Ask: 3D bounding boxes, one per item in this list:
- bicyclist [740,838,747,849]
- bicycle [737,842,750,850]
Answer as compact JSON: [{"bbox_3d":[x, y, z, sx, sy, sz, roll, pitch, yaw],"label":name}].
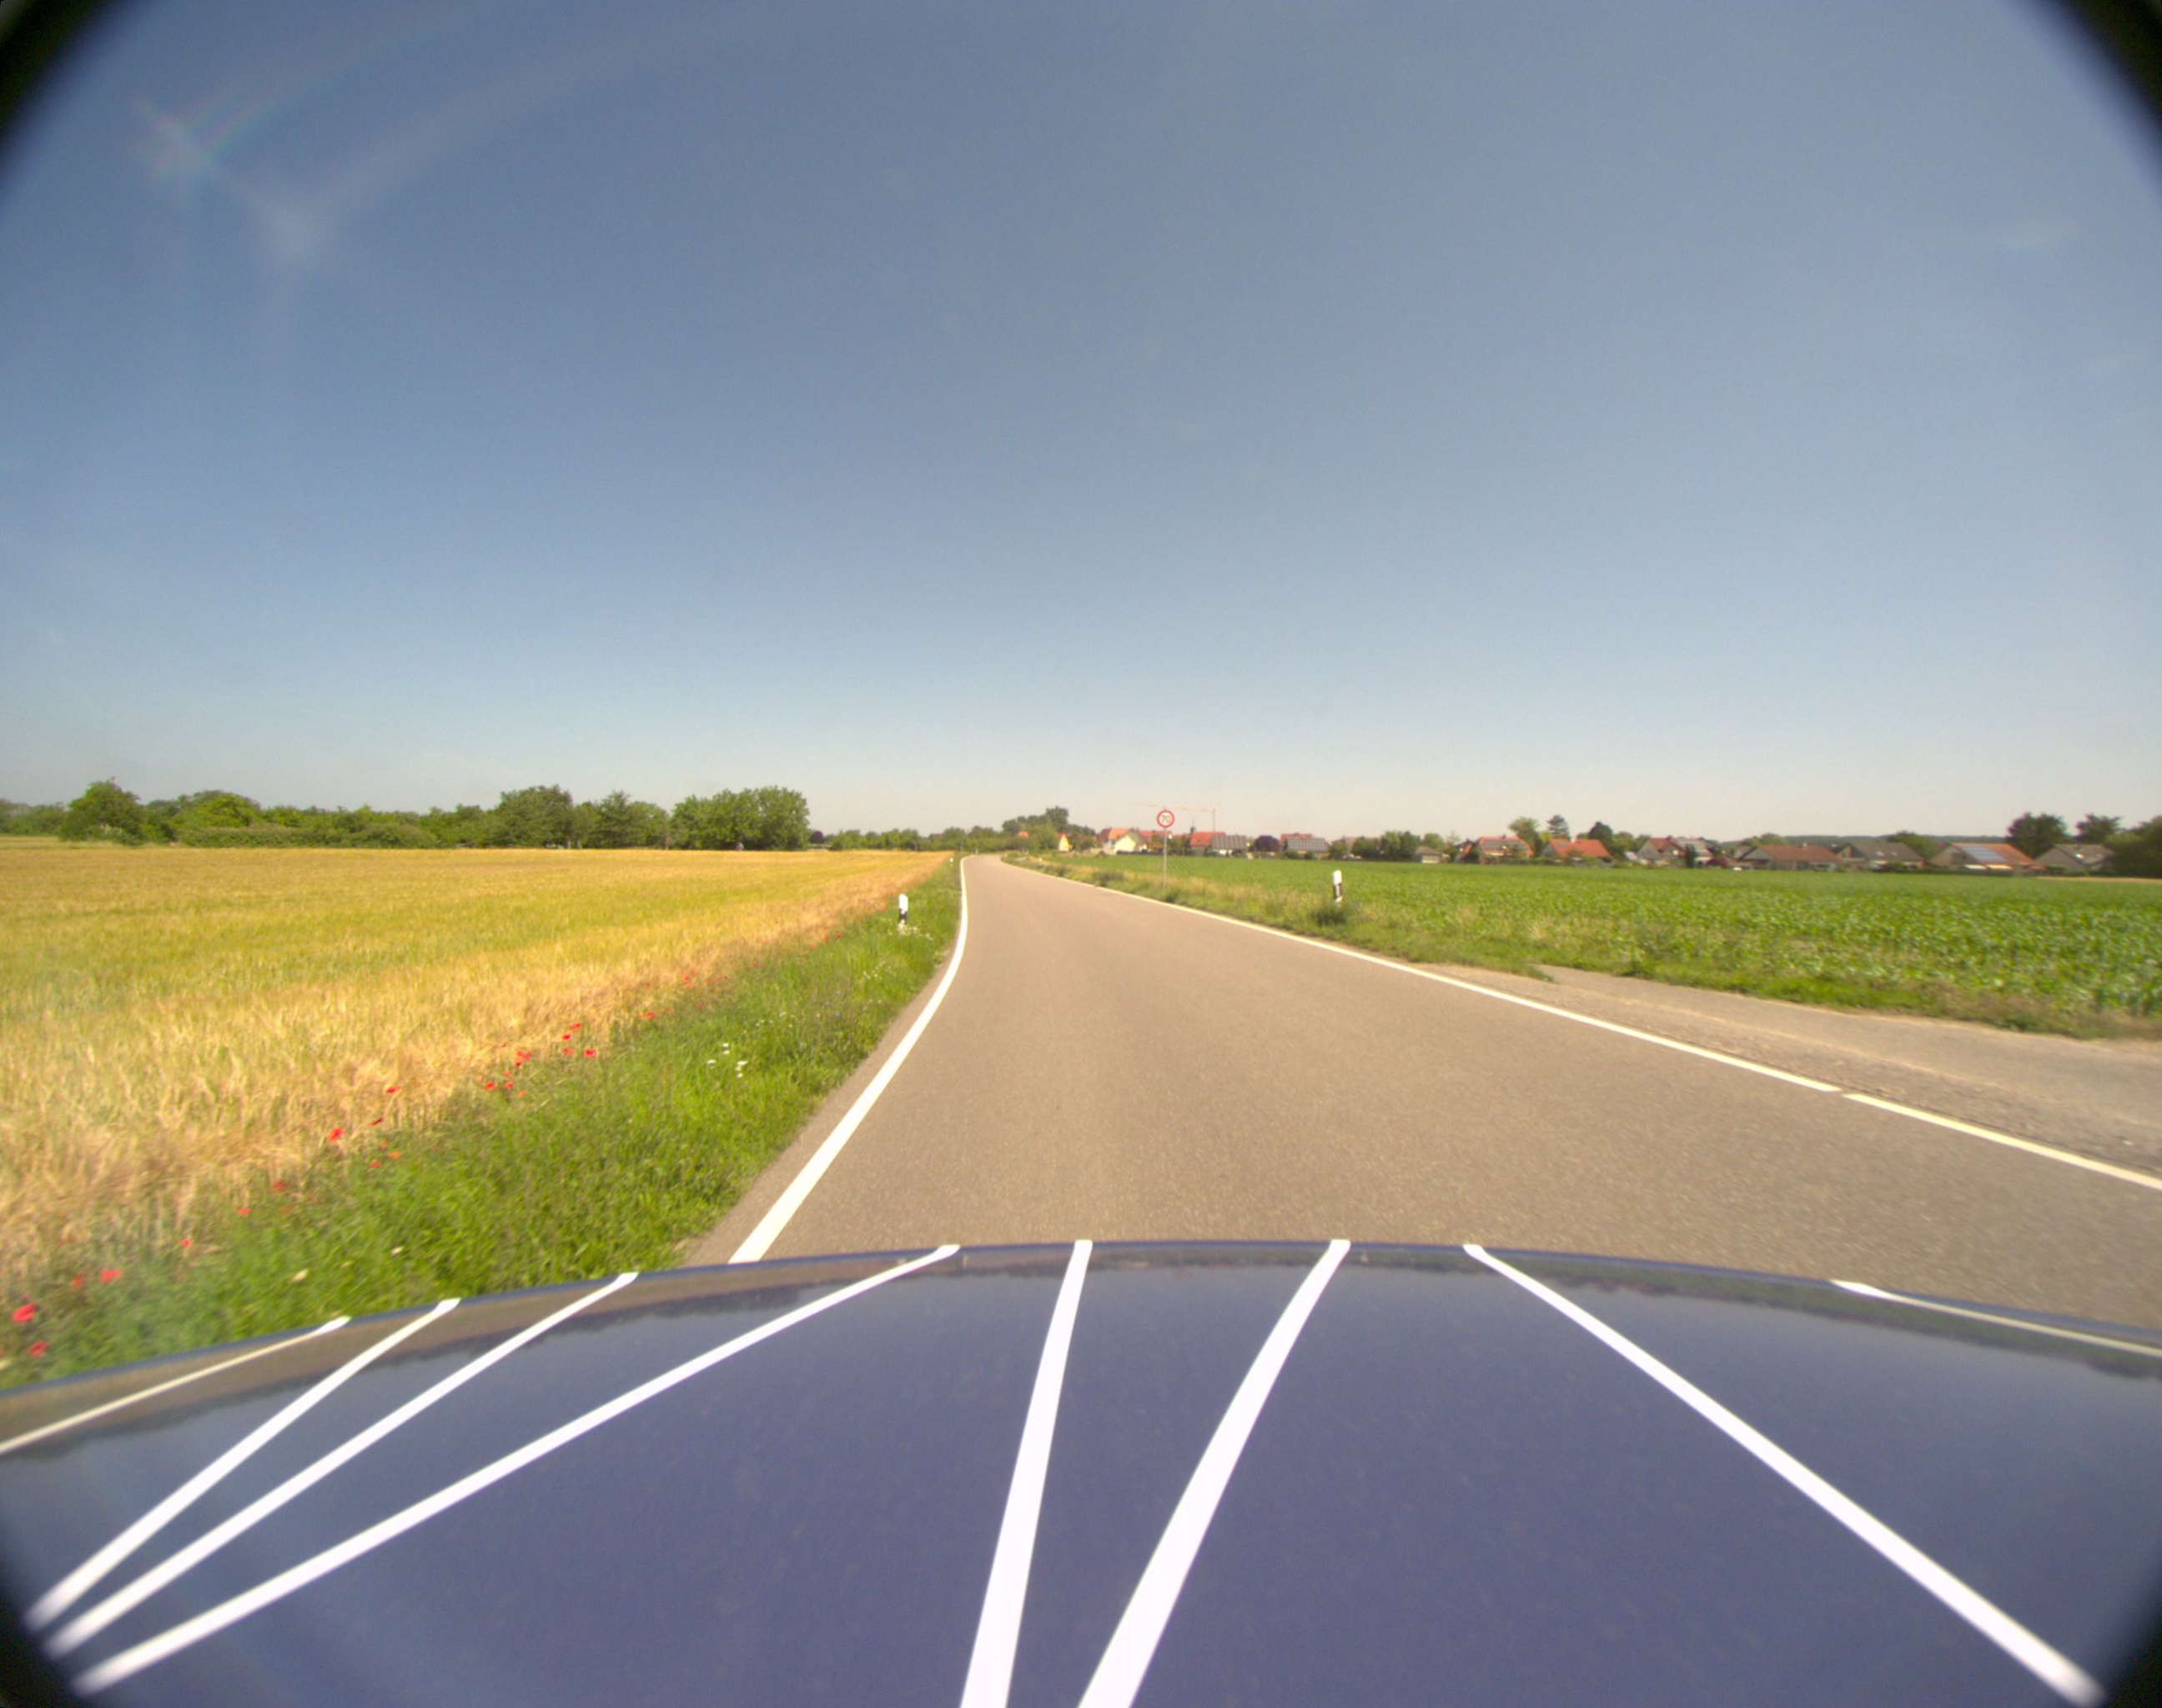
[{"bbox_3d":[-49.302,-1.566,110.970,0.737,1.565,0.672,0,2,-43],"label":"bicyclist"},{"bbox_3d":[-49.303,-1.192,110.986,1.773,1.109,0.520,0,2,-43],"label":"bicycle"}]
